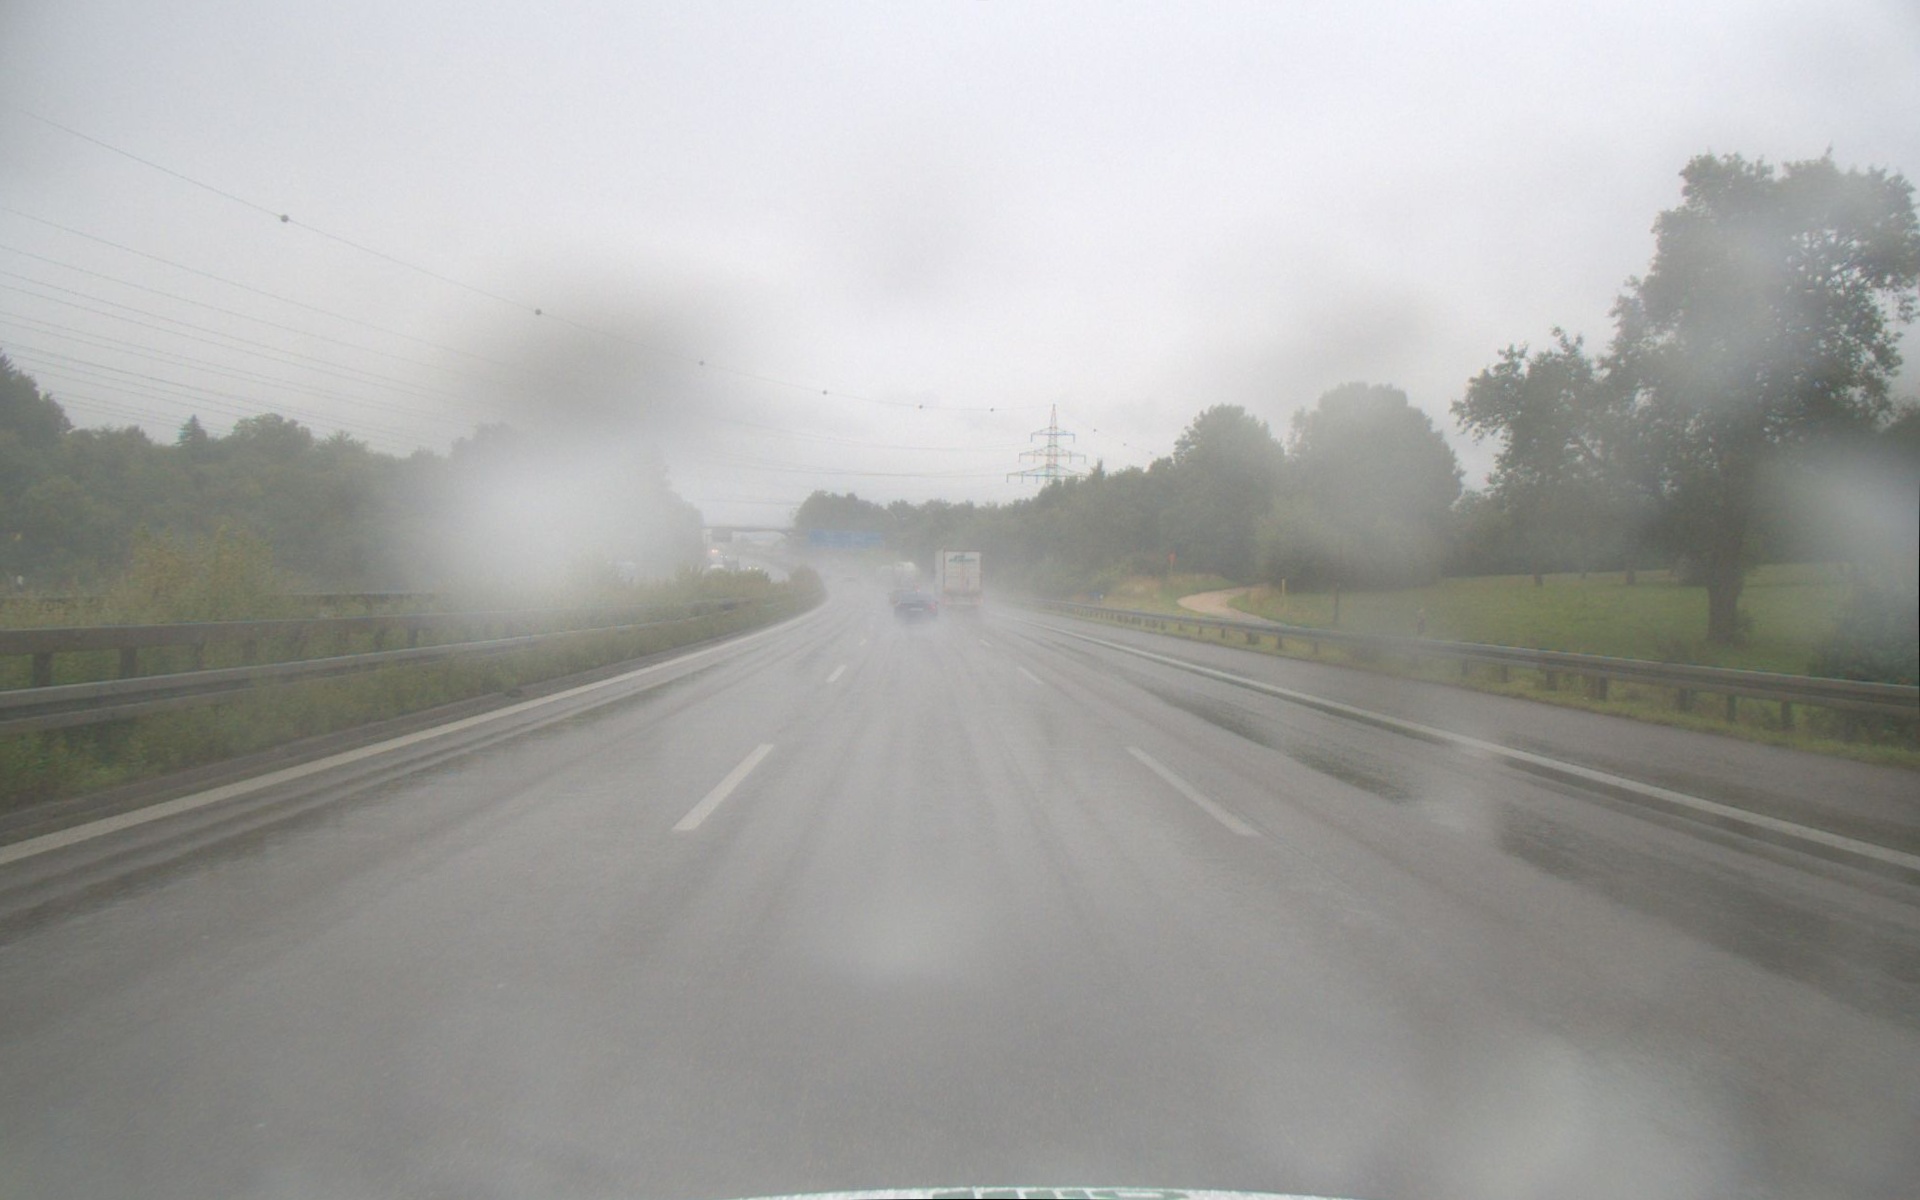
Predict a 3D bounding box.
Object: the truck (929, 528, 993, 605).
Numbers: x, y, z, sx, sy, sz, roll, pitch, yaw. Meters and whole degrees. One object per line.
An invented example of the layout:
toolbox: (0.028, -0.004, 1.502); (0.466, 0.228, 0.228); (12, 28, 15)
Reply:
truck: (0.261, -2.336, 117.216); (4.168, 5.058, 17.345); (0, 1, 1)

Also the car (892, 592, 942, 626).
car: (-1.708, 0.351, 67.086); (1.712, 1.233, 4.001); (4, 1, 2)

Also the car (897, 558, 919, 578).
car: (-6.450, -3.957, 204.340); (2.346, 2.312, 4.999); (3, 1, -4)
